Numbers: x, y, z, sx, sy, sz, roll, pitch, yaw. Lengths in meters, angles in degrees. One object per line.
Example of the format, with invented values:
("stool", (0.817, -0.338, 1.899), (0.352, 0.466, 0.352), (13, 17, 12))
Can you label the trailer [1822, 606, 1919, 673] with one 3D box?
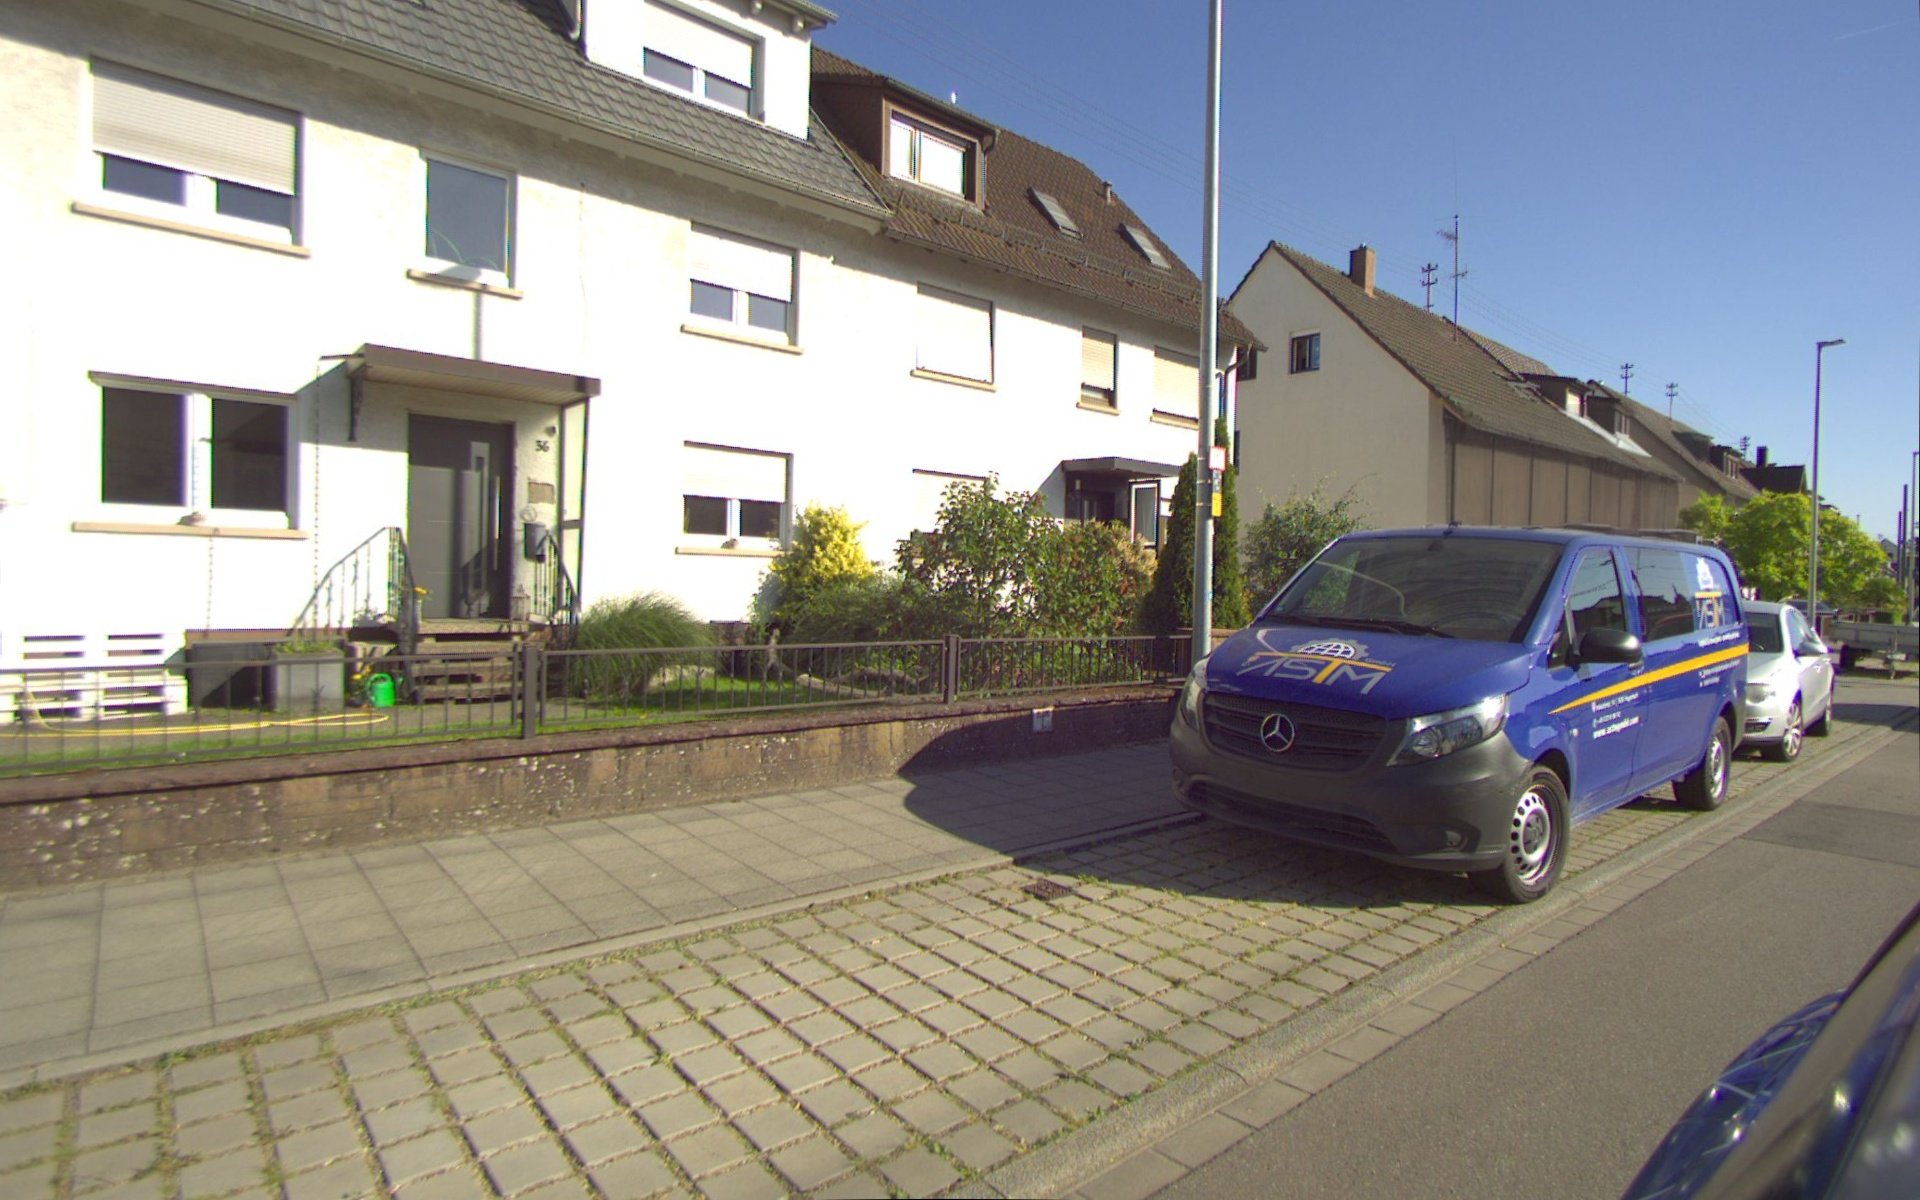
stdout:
("trailer", (20.458, 0.807, 21.740), (6.329, 1.144, 2.275), (0, 4, -44))

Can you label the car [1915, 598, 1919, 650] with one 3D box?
("car", (28.231, 0.514, 28.331), (4.507, 1.784, 1.794), (0, 4, -43))

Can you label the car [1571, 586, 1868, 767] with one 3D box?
("car", (8.398, 0.633, 10.960), (5.198, 1.476, 1.732), (0, 2, -44))

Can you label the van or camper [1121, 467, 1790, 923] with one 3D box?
("van or camper", (3.618, 0.332, 6.689), (5.485, 1.869, 1.953), (0, 3, -41))
